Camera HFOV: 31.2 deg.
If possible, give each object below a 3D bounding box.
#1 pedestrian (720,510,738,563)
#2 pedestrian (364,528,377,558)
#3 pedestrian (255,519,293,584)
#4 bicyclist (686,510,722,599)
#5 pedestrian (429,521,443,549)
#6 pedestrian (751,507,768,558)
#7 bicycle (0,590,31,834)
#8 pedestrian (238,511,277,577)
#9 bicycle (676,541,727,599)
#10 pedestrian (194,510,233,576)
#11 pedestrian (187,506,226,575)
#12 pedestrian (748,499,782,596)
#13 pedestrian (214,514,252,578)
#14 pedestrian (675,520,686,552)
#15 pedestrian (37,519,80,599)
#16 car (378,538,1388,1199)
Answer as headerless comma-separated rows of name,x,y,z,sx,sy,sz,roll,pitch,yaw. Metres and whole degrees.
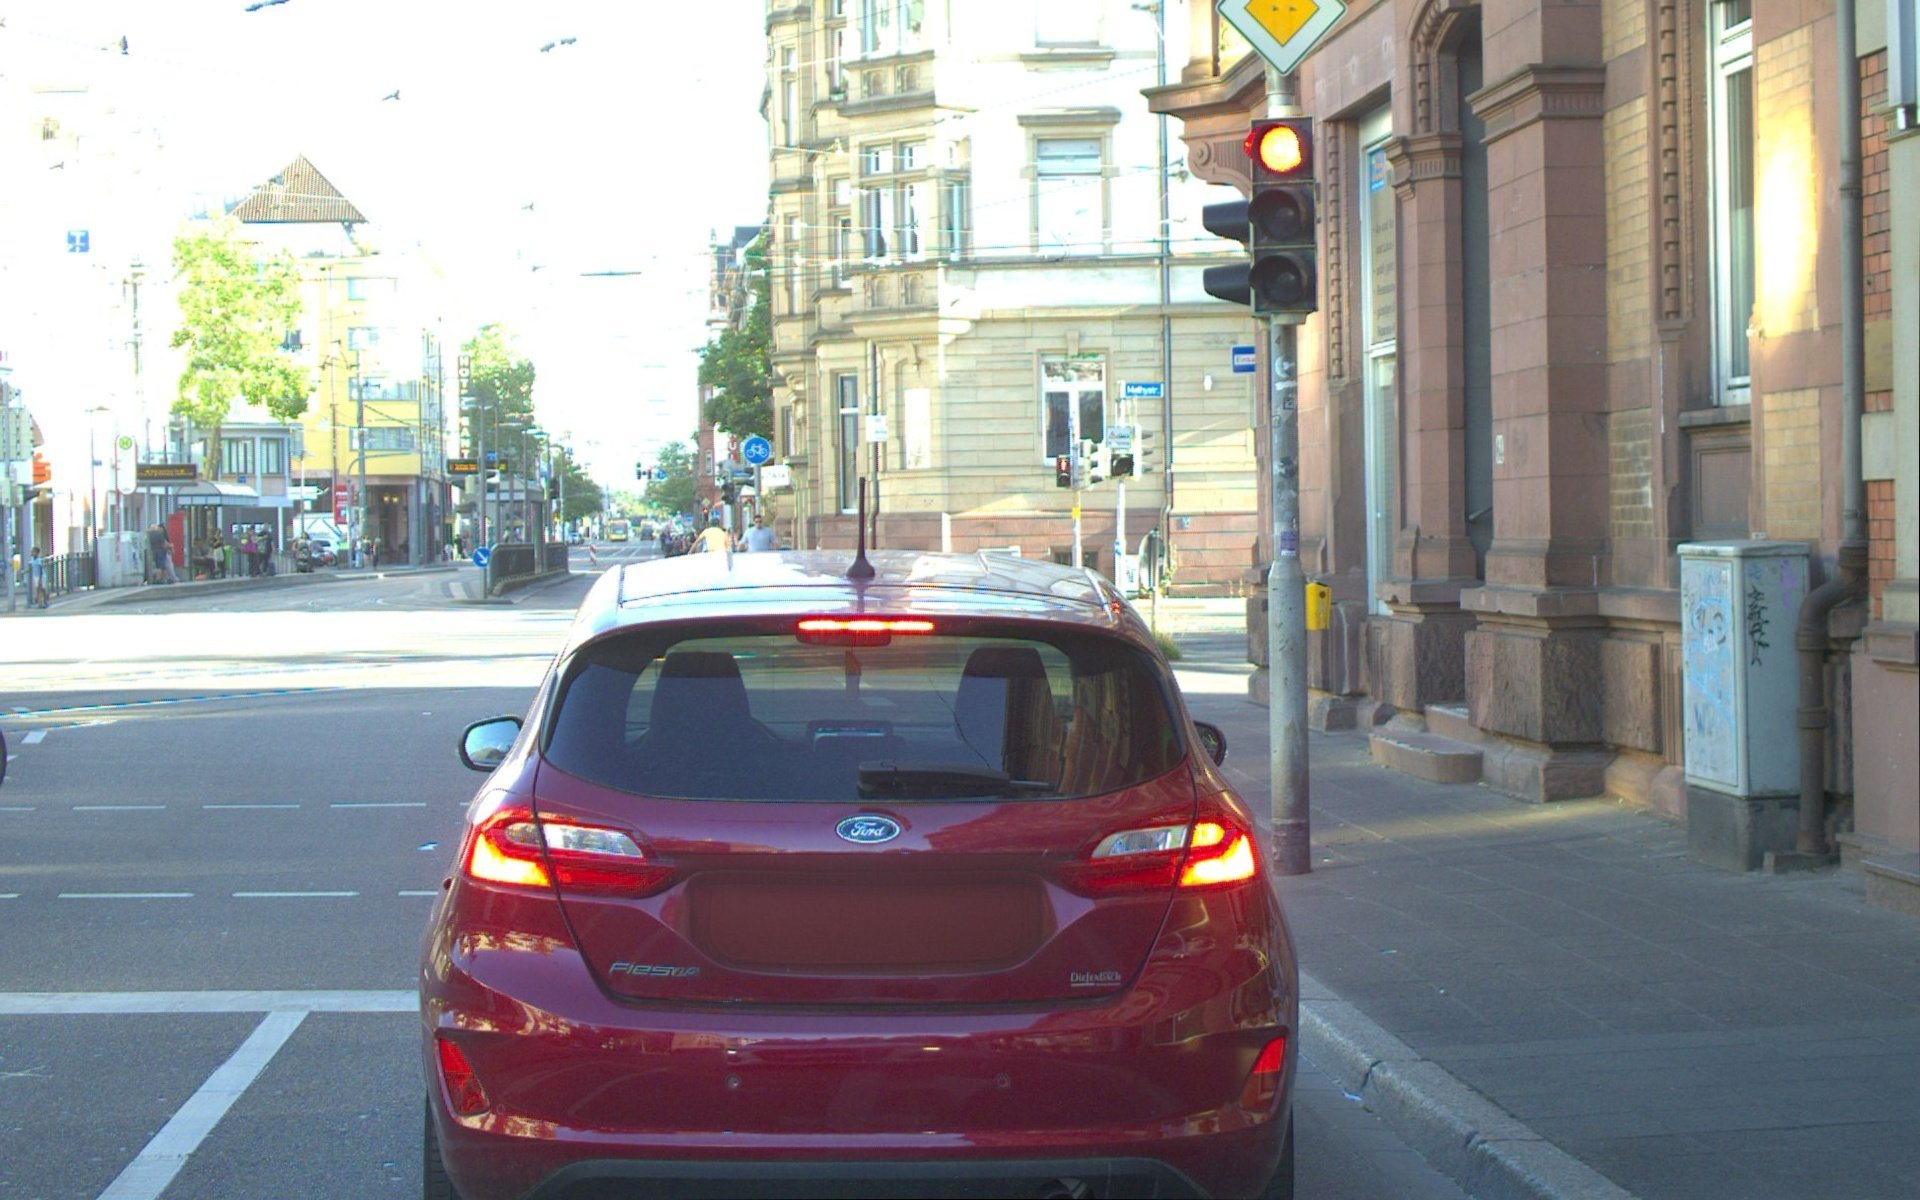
pedestrian,-8.749,-2.402,130.193,0.577,2.007,0.631,-1,1,2
pedestrian,-28.831,-2.786,168.251,0.524,1.483,0.583,-1,1,-2
pedestrian,-21.358,-1.523,107.082,1.045,2.007,0.959,-1,1,-6
bicyclist,-4.855,-0.859,65.148,0.499,1.670,0.545,-1,1,-21
pedestrian,-30.192,-3.734,198.130,0.628,1.599,0.579,-1,1,-21
pedestrian,-7.963,-2.681,136.347,0.577,2.007,0.631,-1,1,2
bicycle,-5.577,0.537,16.667,2.017,1.173,0.628,0,1,-20
pedestrian,-21.367,-1.705,104.628,1.045,2.007,0.959,-1,1,-6
bicycle,-4.923,-0.570,65.352,0.526,1.085,1.487,-1,1,-21
pedestrian,-22.972,-1.758,105.843,1.045,2.007,0.959,-1,1,-6
pedestrian,-22.436,-1.770,102.336,0.956,2.007,1.049,-1,1,-4
pedestrian,-4.095,-1.104,72.106,0.651,2.007,0.760,-1,1,-5
pedestrian,-22.905,-1.701,108.371,1.045,2.007,0.959,-1,1,-6
pedestrian,-16.750,-3.854,206.019,0.577,1.880,0.670,-1,1,-4
pedestrian,-19.517,-0.893,74.430,0.768,1.724,0.573,-1,1,-2
car,-0.339,0.602,7.949,1.754,1.461,3.946,0,1,-6
